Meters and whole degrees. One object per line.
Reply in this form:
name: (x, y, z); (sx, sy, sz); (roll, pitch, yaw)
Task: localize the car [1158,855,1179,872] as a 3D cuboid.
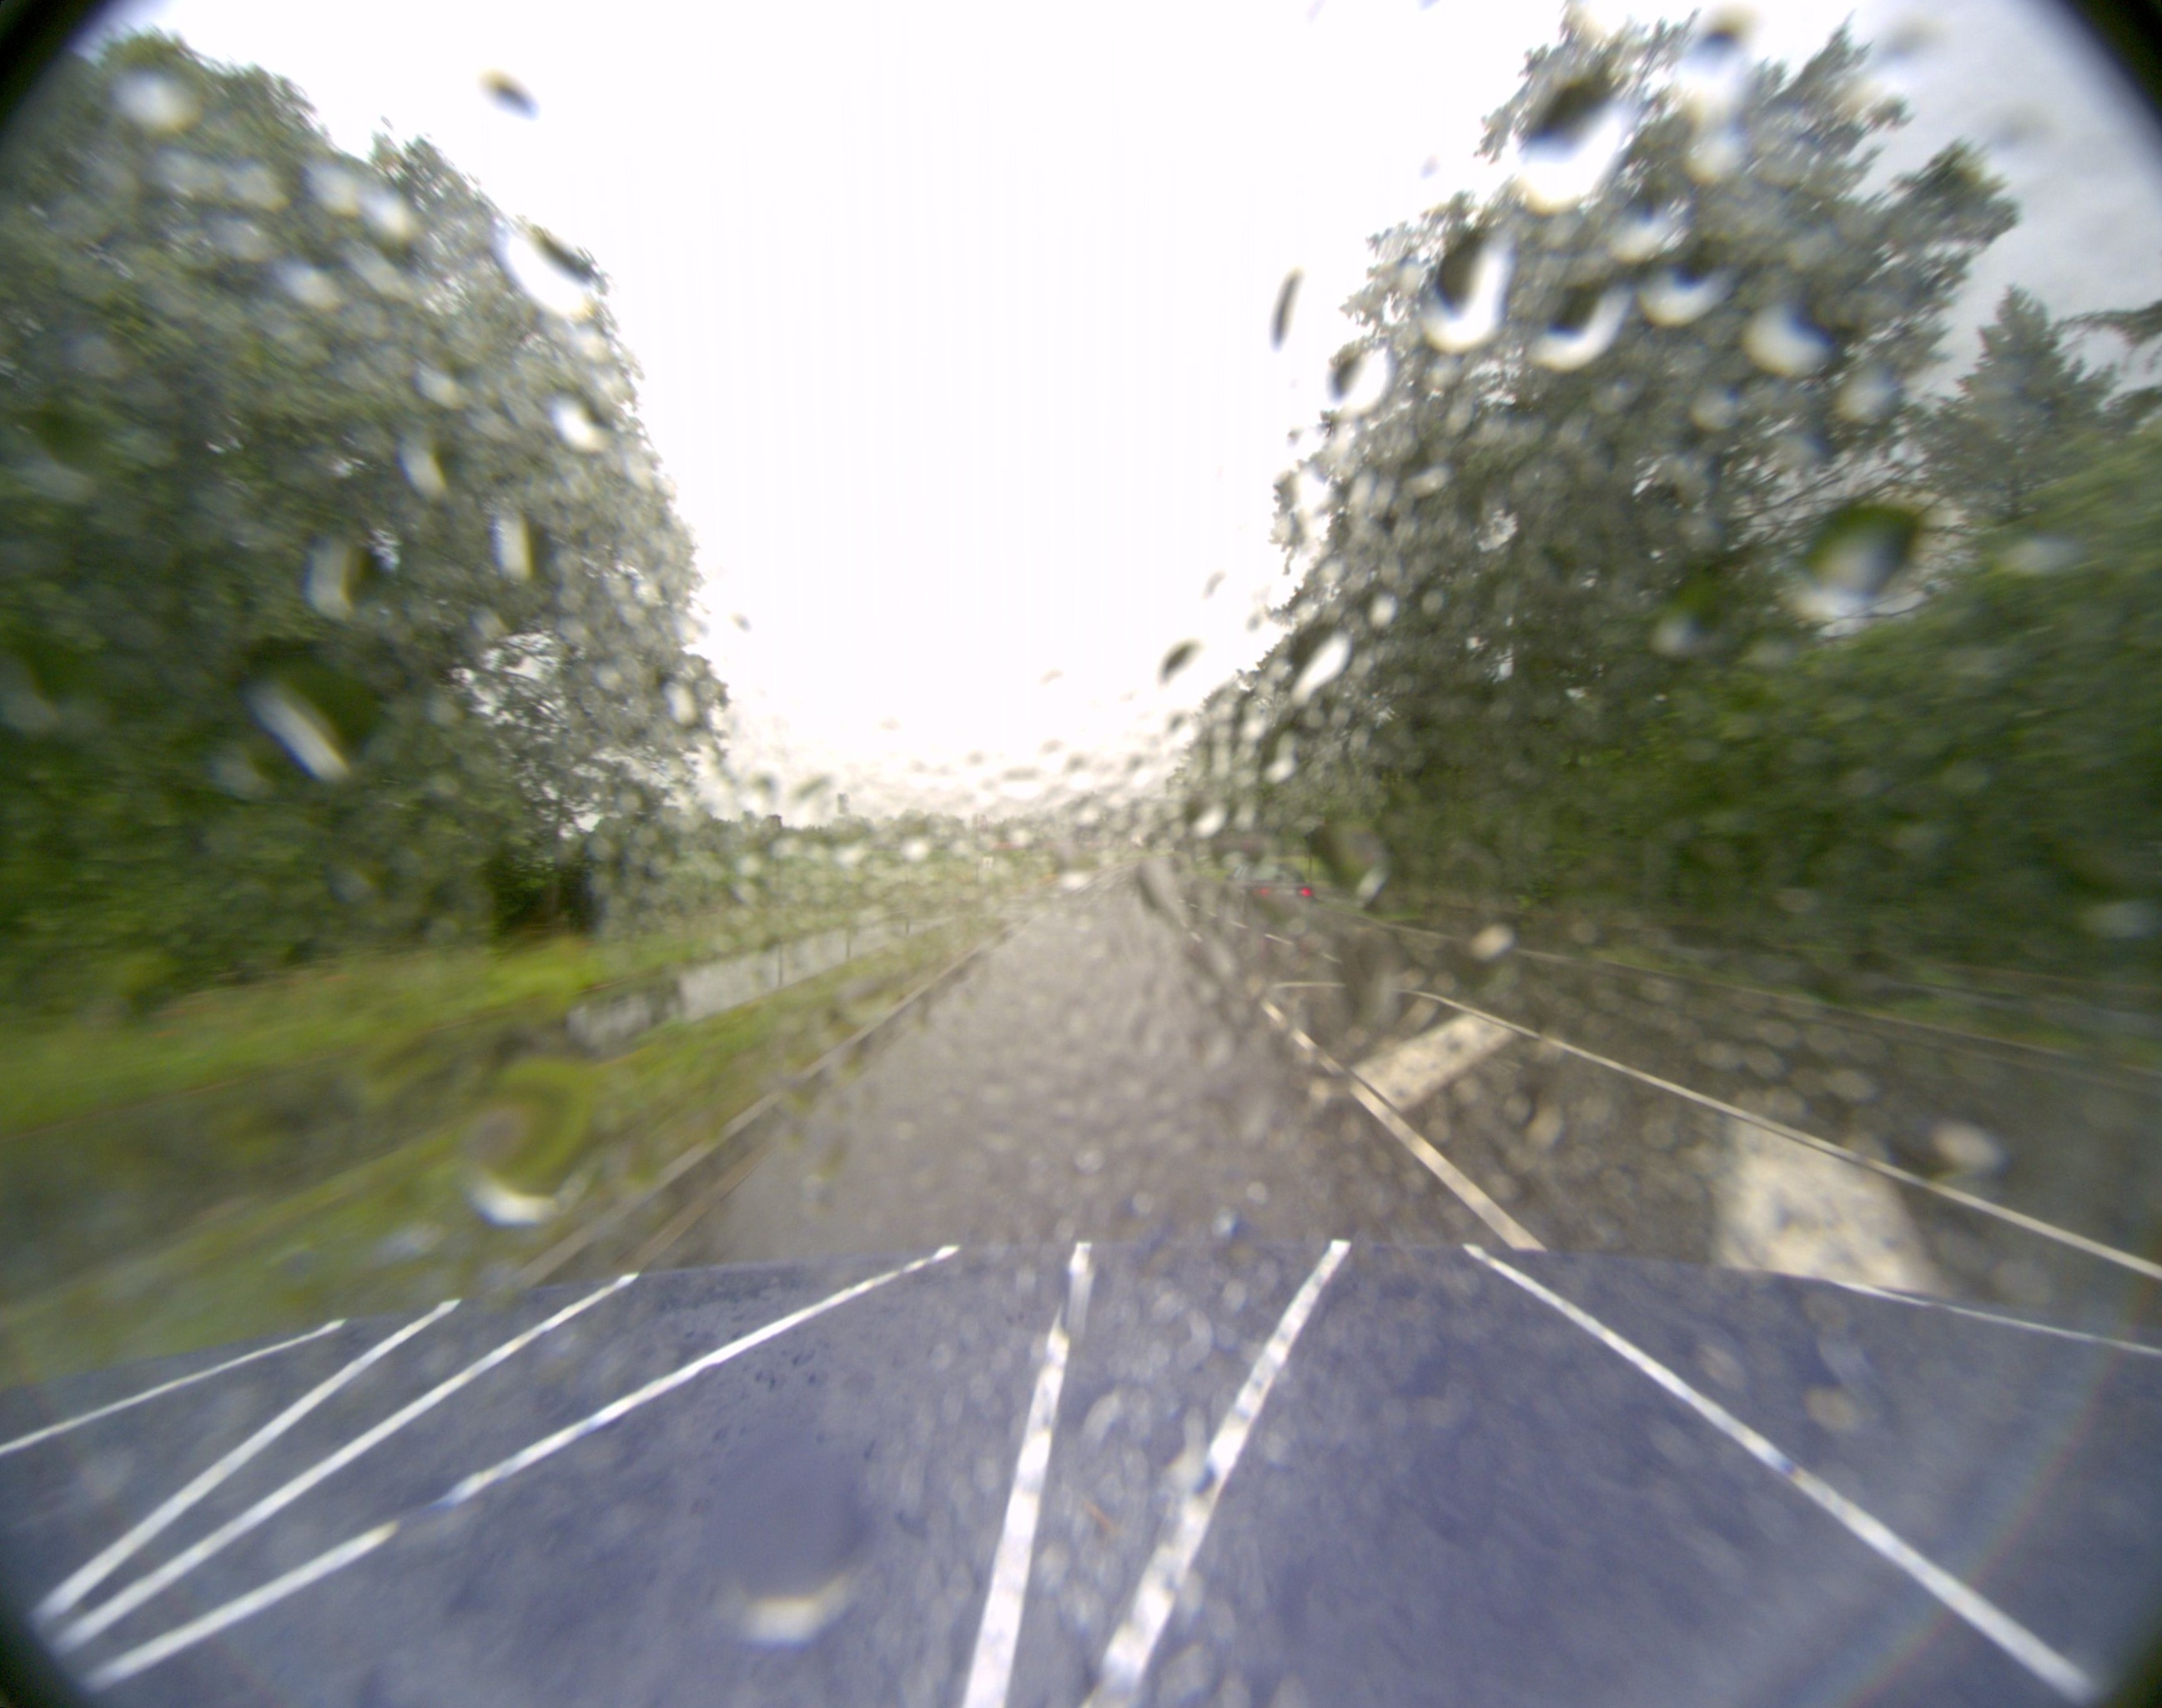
car: (8.144, 0.890, 71.243); (1.764, 1.543, 4.002); (0, -1, 4)

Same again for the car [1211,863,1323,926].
car: (4.665, 0.967, 19.701); (1.687, 1.374, 4.224); (2, 0, -2)
